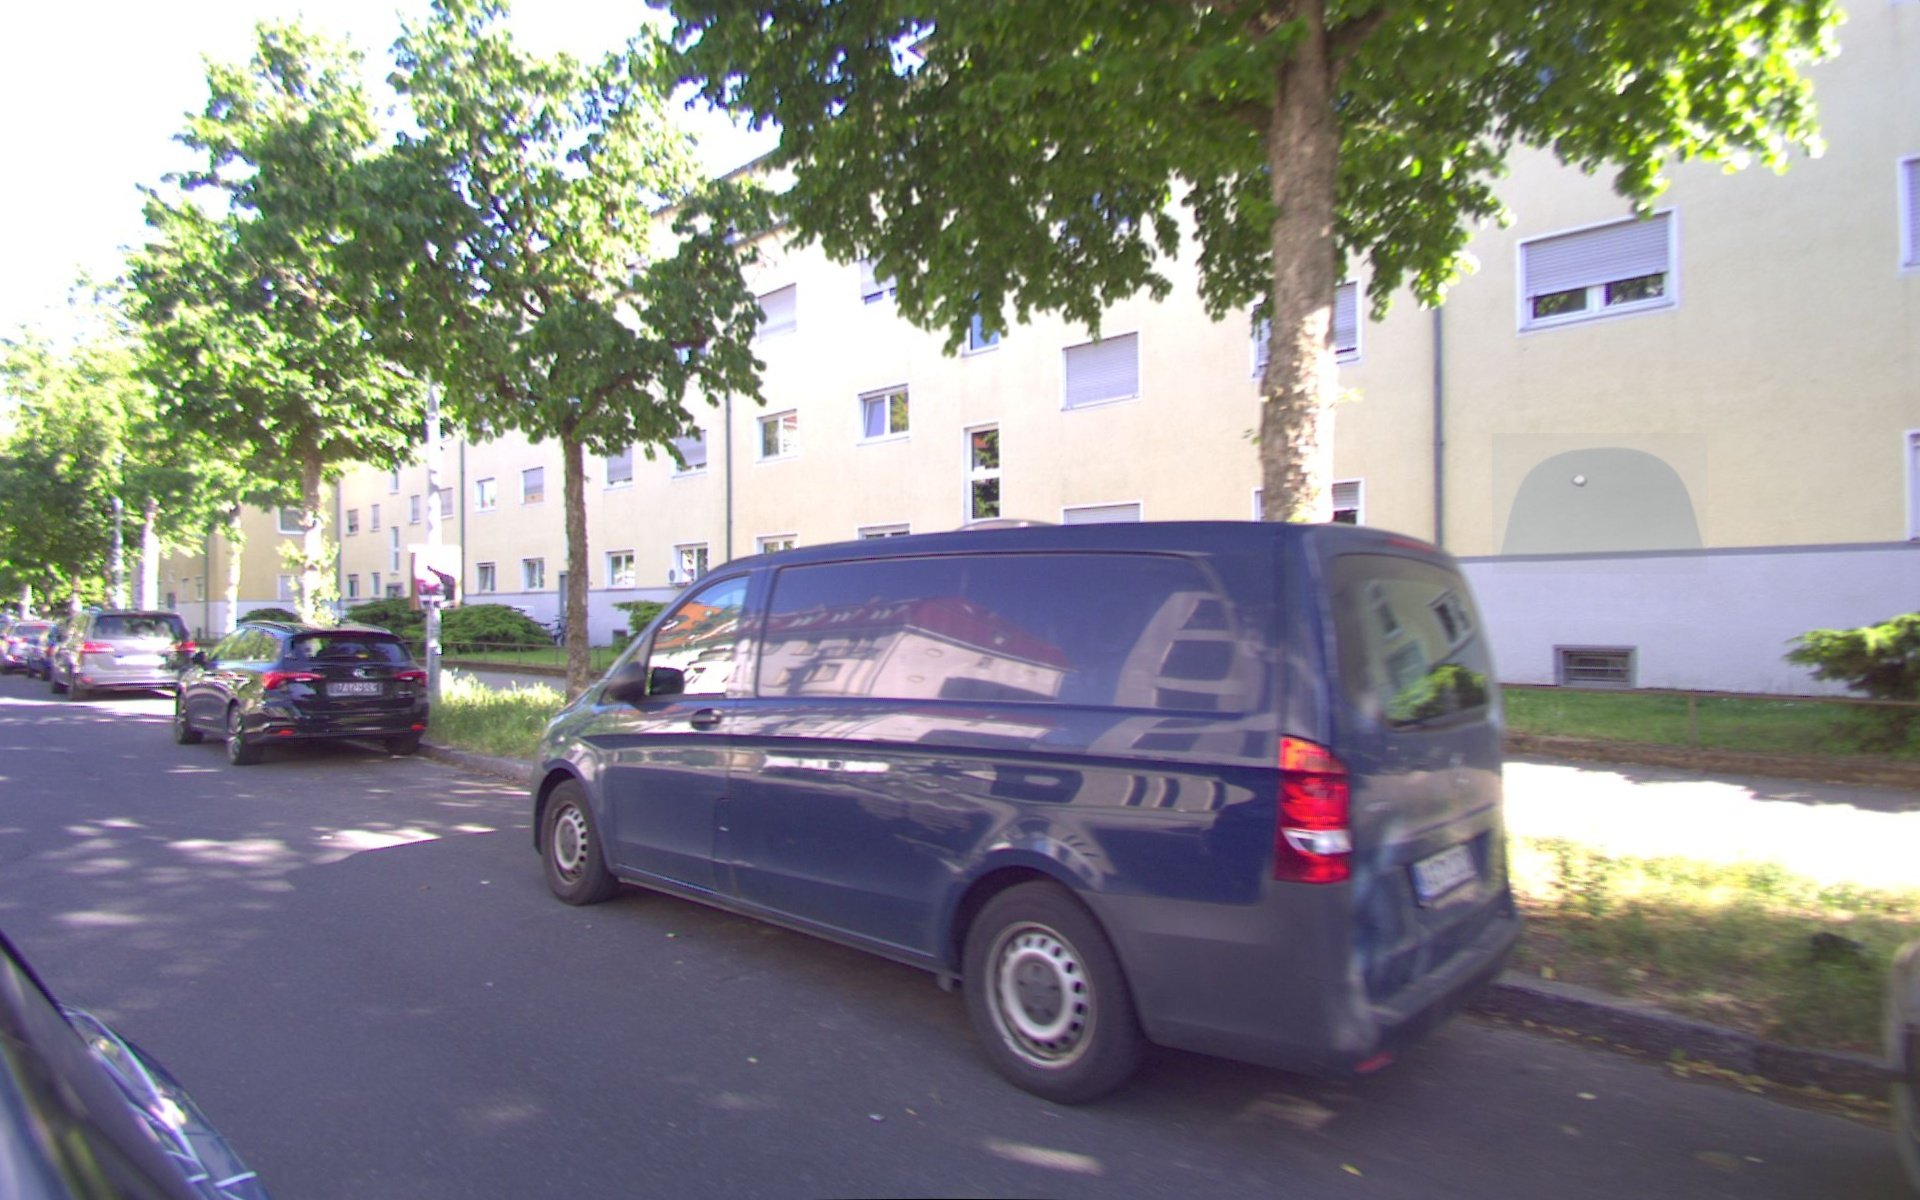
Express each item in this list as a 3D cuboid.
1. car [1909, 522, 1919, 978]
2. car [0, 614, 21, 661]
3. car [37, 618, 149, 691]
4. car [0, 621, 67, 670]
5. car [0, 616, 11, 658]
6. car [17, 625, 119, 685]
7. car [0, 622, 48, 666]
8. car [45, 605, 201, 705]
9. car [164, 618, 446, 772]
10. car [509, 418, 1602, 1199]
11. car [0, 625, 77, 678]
[{"bbox_3d":[3.992,0.592,0.832,4.522,1.698,1.776,-1,-2,39],"label":"car"},{"bbox_3d":[-39.030,1.507,40.295,3.910,1.821,1.867,-1,-1,39],"label":"car"},{"bbox_3d":[-20.234,1.223,23.583,3.416,1.556,1.584,-1,-1,42],"label":"car"},{"bbox_3d":[-30.475,1.437,33.034,3.811,1.483,1.584,-1,-1,42],"label":"car"},{"bbox_3d":[-42.455,1.578,43.800,3.712,1.775,1.691,-1,-1,42],"label":"car"},{"bbox_3d":[-23.027,1.355,26.087,3.811,1.401,1.584,-1,-1,42],"label":"car"},{"bbox_3d":[-34.780,1.577,36.860,3.996,1.490,1.782,-1,-1,40],"label":"car"},{"bbox_3d":[-16.372,1.026,19.737,4.001,1.741,1.839,-1,-3,44],"label":"car"},{"bbox_3d":[-7.707,0.986,11.756,4.063,1.482,1.756,-1,-4,43],"label":"car"},{"bbox_3d":[-0.102,0.569,4.605,4.866,1.864,1.774,-1,-2,43],"label":"car"},{"bbox_3d":[-26.541,1.426,28.886,3.811,1.401,1.584,-1,-1,42],"label":"car"}]
